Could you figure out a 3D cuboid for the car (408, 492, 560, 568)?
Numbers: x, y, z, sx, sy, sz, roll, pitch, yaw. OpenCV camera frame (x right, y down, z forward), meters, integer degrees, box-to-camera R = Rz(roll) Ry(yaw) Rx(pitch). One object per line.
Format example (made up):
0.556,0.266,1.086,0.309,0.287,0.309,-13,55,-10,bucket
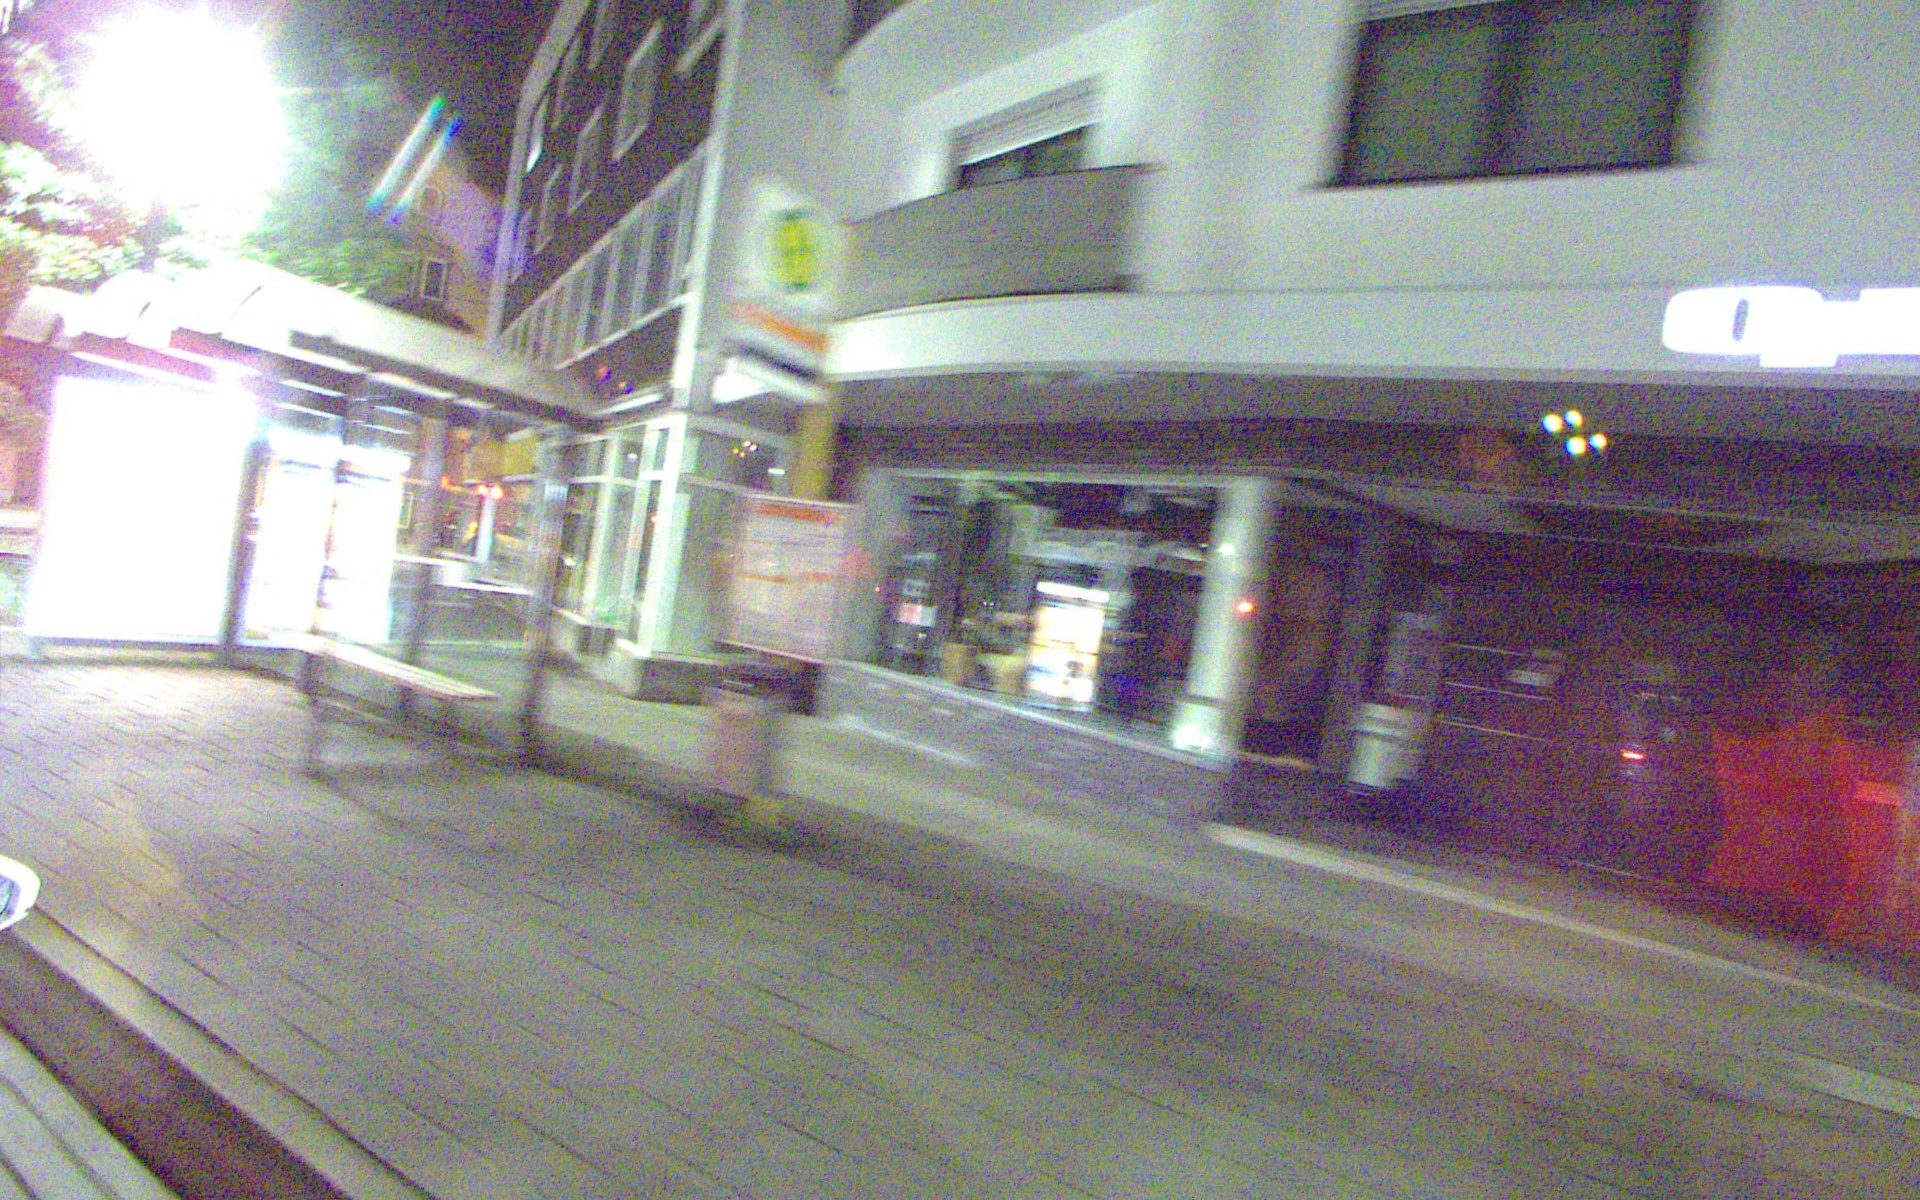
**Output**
-17.523,-2.519,37.305,4.783,1.931,2.148,8,-2,-23,car

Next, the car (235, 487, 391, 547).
-21.883,-2.802,34.160,1.798,1.472,4.036,8,2,38,car
